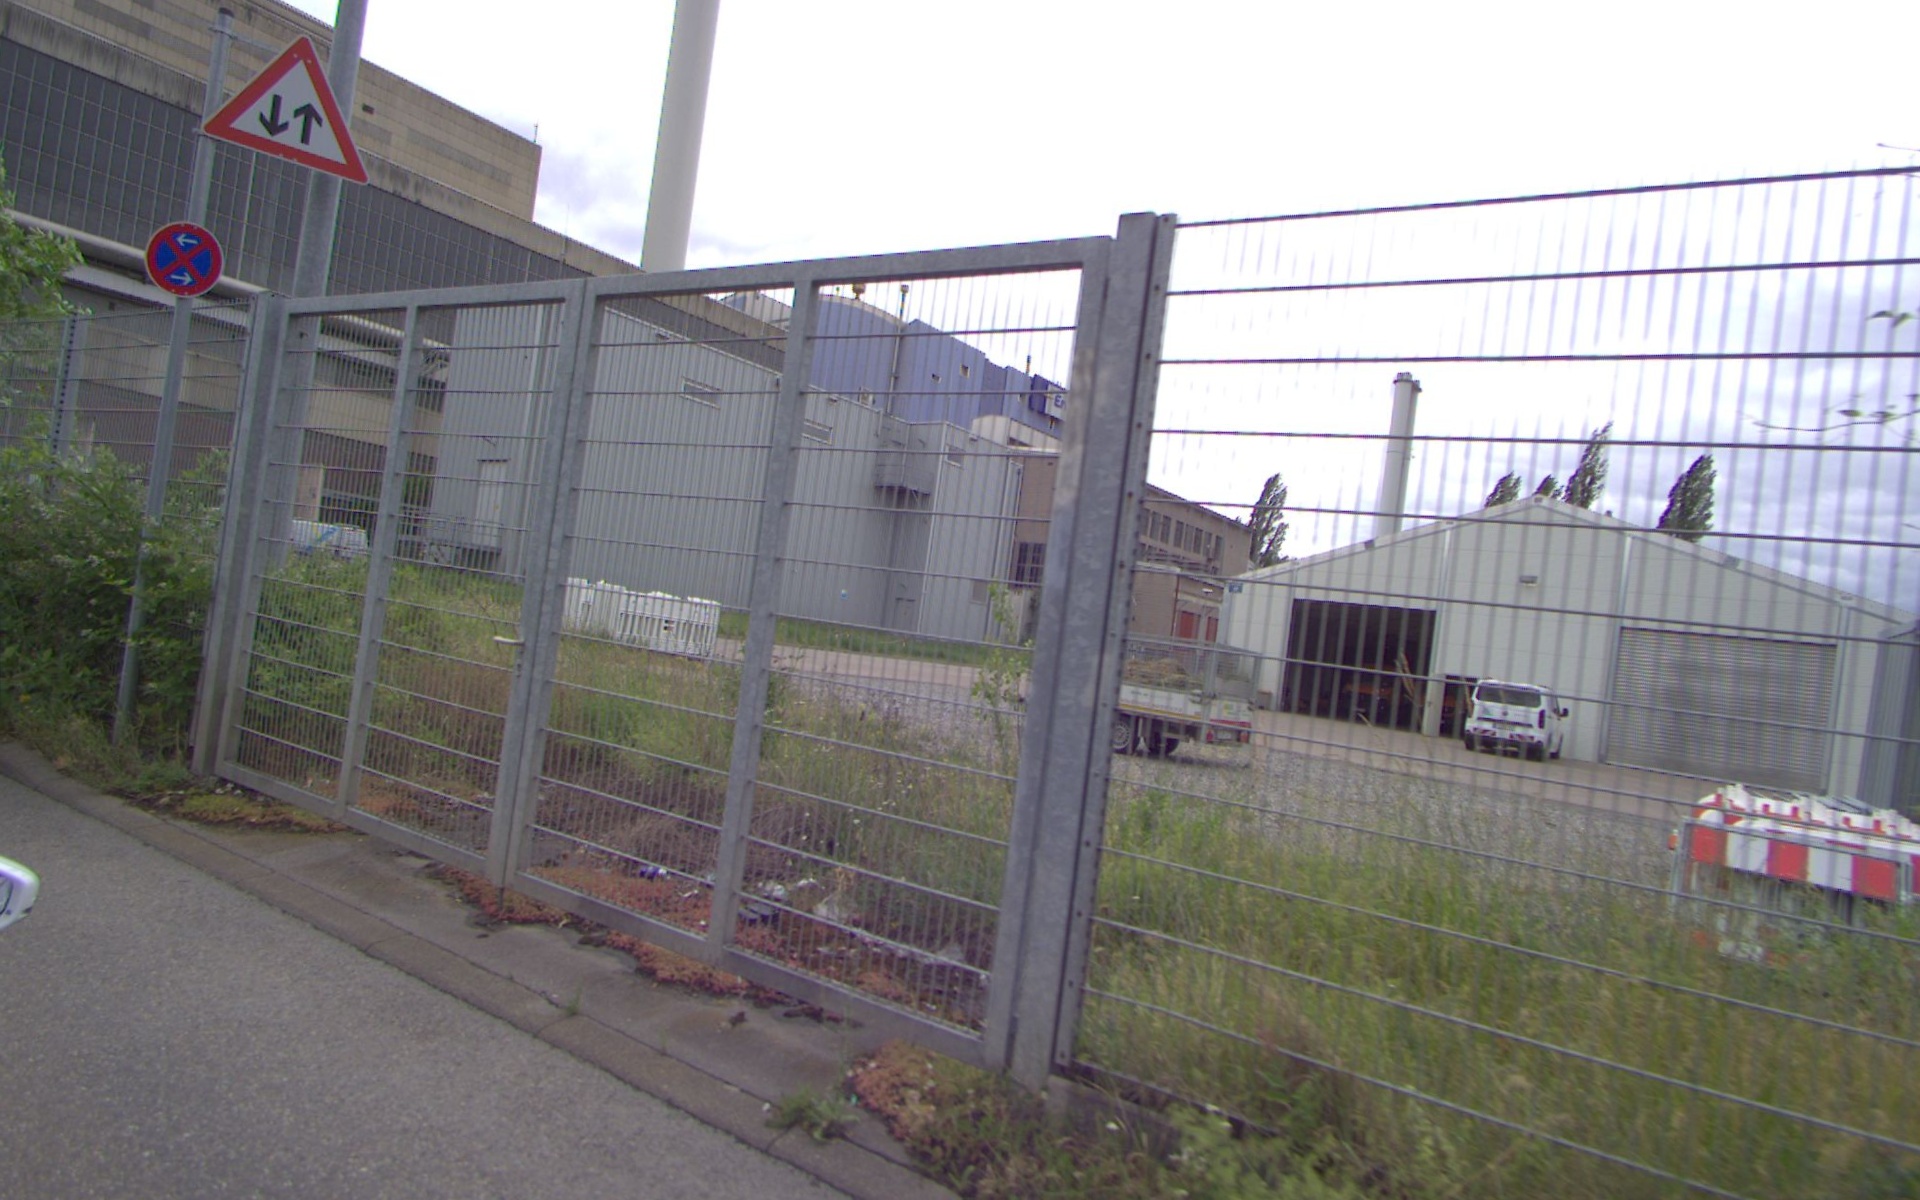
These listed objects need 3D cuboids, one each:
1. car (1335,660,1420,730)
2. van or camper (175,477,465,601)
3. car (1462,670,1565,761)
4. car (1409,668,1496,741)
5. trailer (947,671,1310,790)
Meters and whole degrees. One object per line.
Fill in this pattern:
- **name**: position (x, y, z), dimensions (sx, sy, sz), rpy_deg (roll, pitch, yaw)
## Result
- **car**: position (16.882, 3.865, 40.566), dimensions (1.969, 2.403, 4.329), rpy_deg (7, -2, 36)
- **van or camper**: position (-33.343, -2.970, 53.486), dimensions (5.383, 4.582, 11.856), rpy_deg (6, -2, 19)
- **car**: position (15.376, 3.183, 27.828), dimensions (1.968, 2.037, 4.332), rpy_deg (7, -2, 34)
- **car**: position (19.183, 4.073, 39.066), dimensions (2.078, 2.403, 4.421), rpy_deg (7, -2, 36)
- **trailer**: position (2.341, 1.808, 14.570), dimensions (4.620, 0.825, 2.299), rpy_deg (7, -2, 38)
